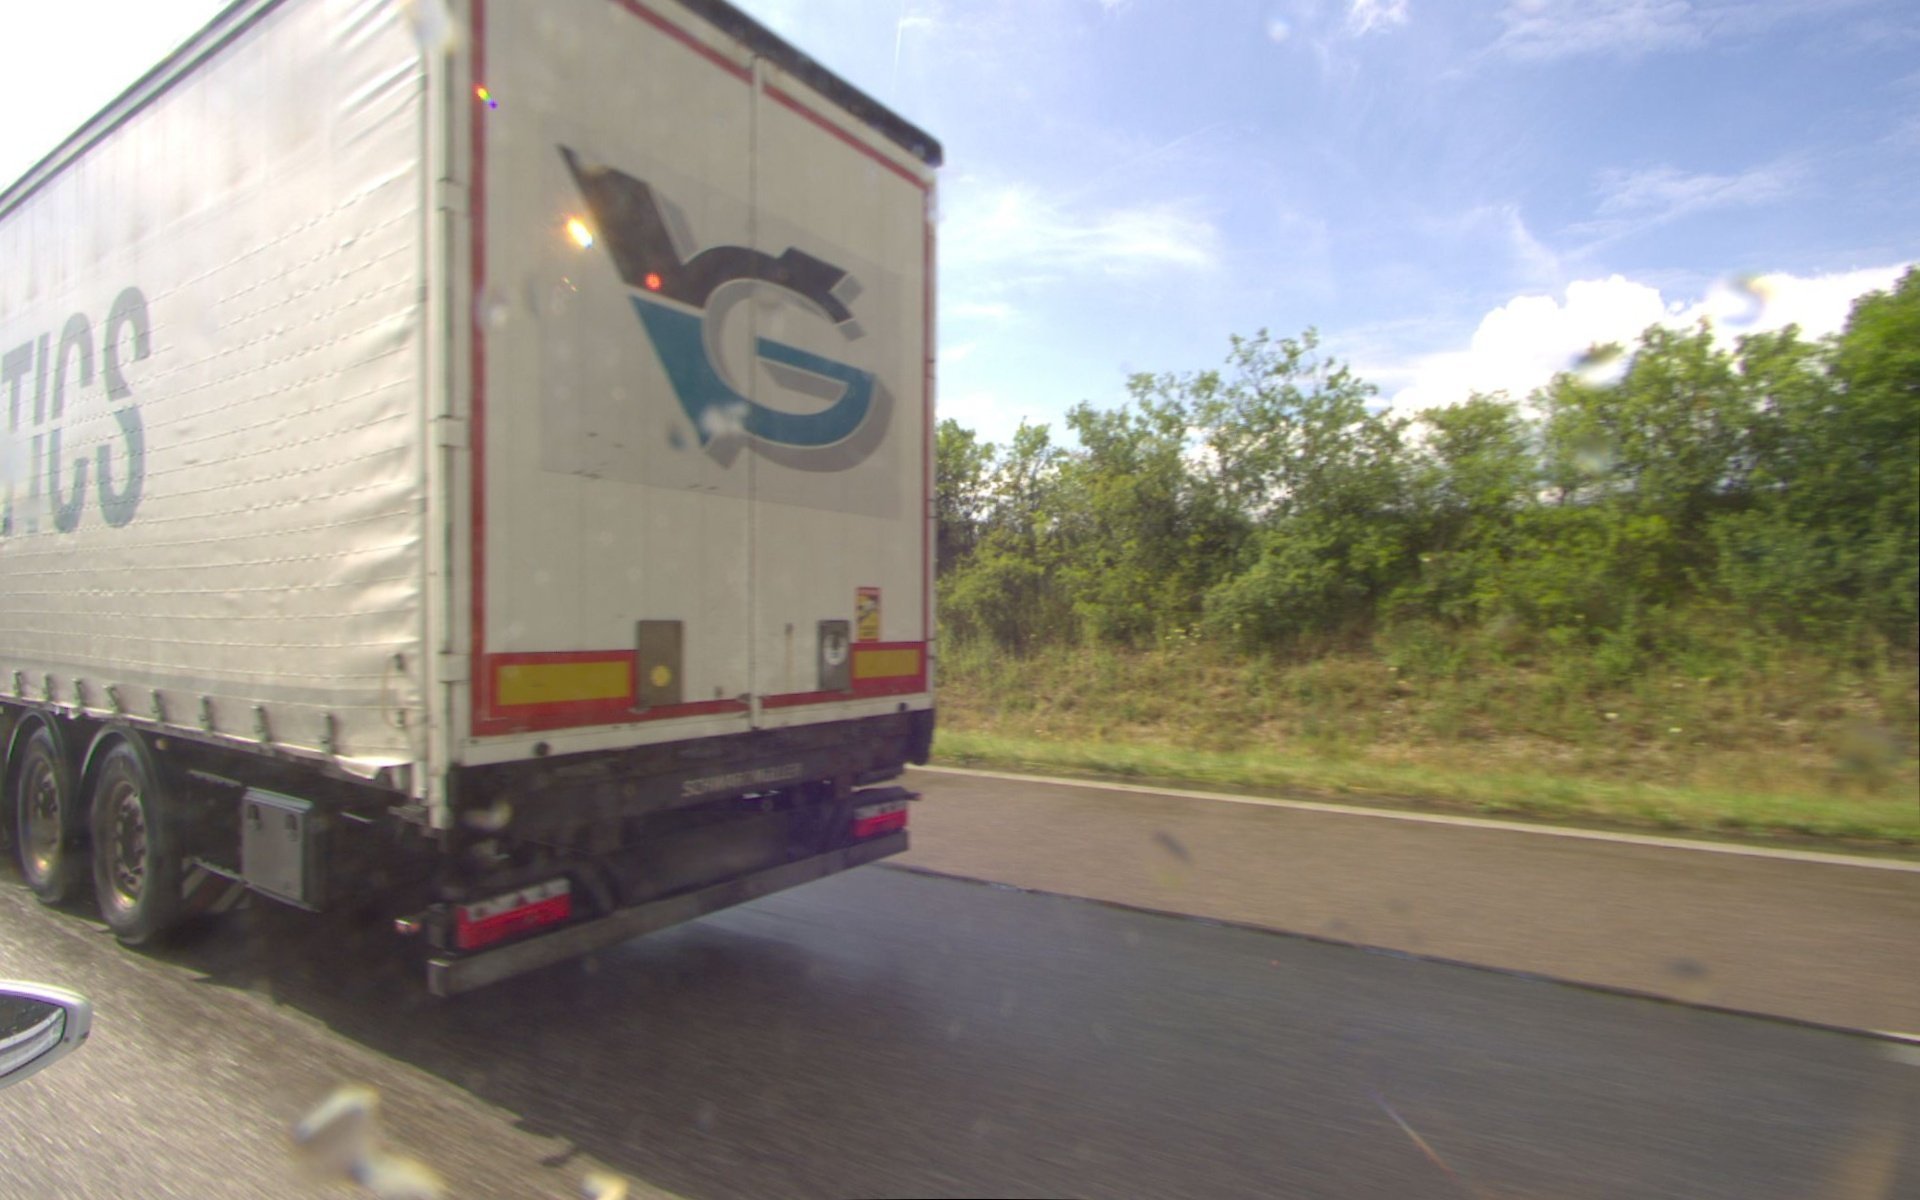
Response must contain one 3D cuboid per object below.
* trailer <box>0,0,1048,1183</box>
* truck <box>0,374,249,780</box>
[{"bbox_3d":[-6.160,-0.286,7.989,13.938,3.948,3.276,-1,-2,35],"label":"trailer"},{"bbox_3d":[-11.680,-0.155,11.890,6.309,3.940,3.277,-1,-2,34],"label":"truck"}]
